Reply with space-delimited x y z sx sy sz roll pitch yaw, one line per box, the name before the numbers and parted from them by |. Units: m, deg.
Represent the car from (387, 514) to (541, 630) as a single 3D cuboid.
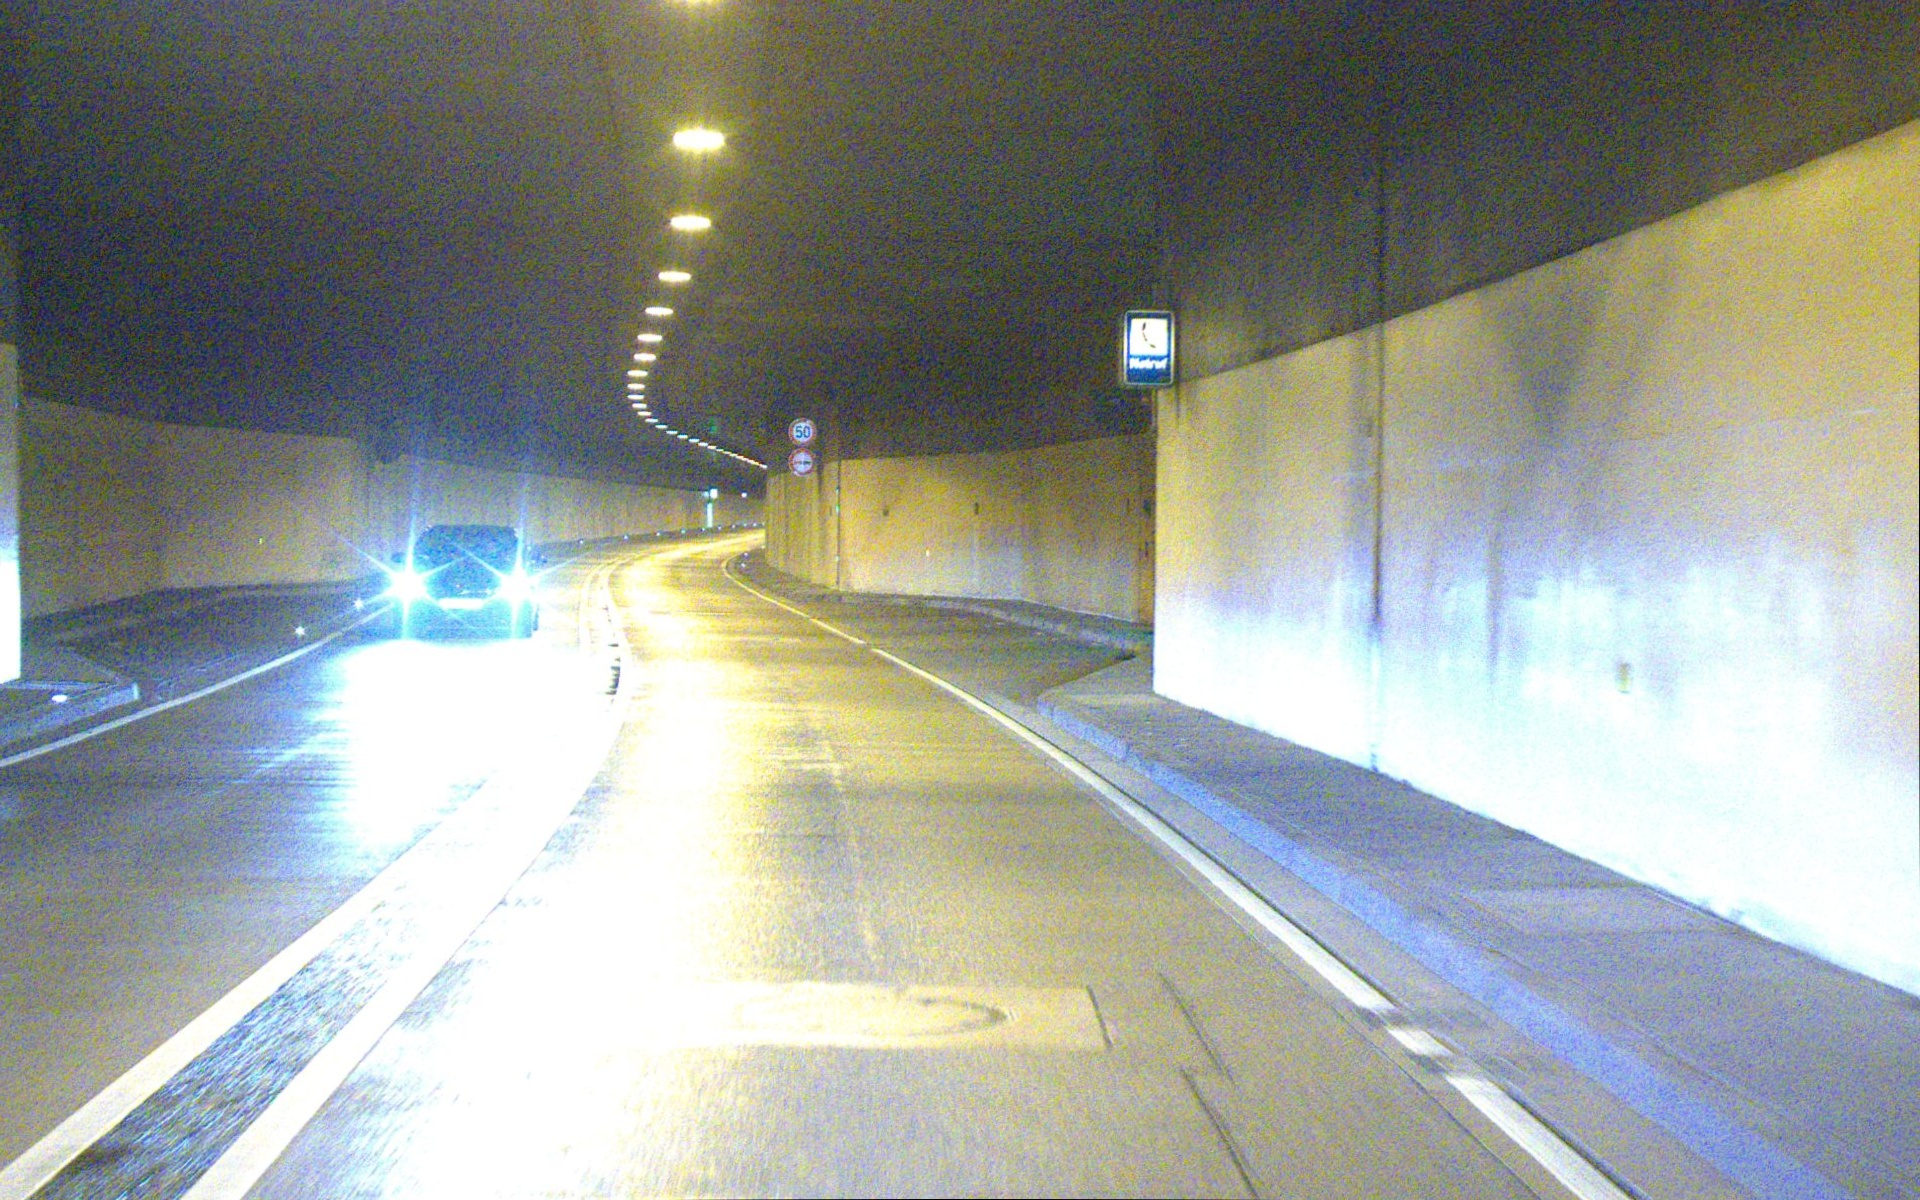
car | -6.487 -0.402 45.289 1.707 1.411 4.118 2 1 -4
